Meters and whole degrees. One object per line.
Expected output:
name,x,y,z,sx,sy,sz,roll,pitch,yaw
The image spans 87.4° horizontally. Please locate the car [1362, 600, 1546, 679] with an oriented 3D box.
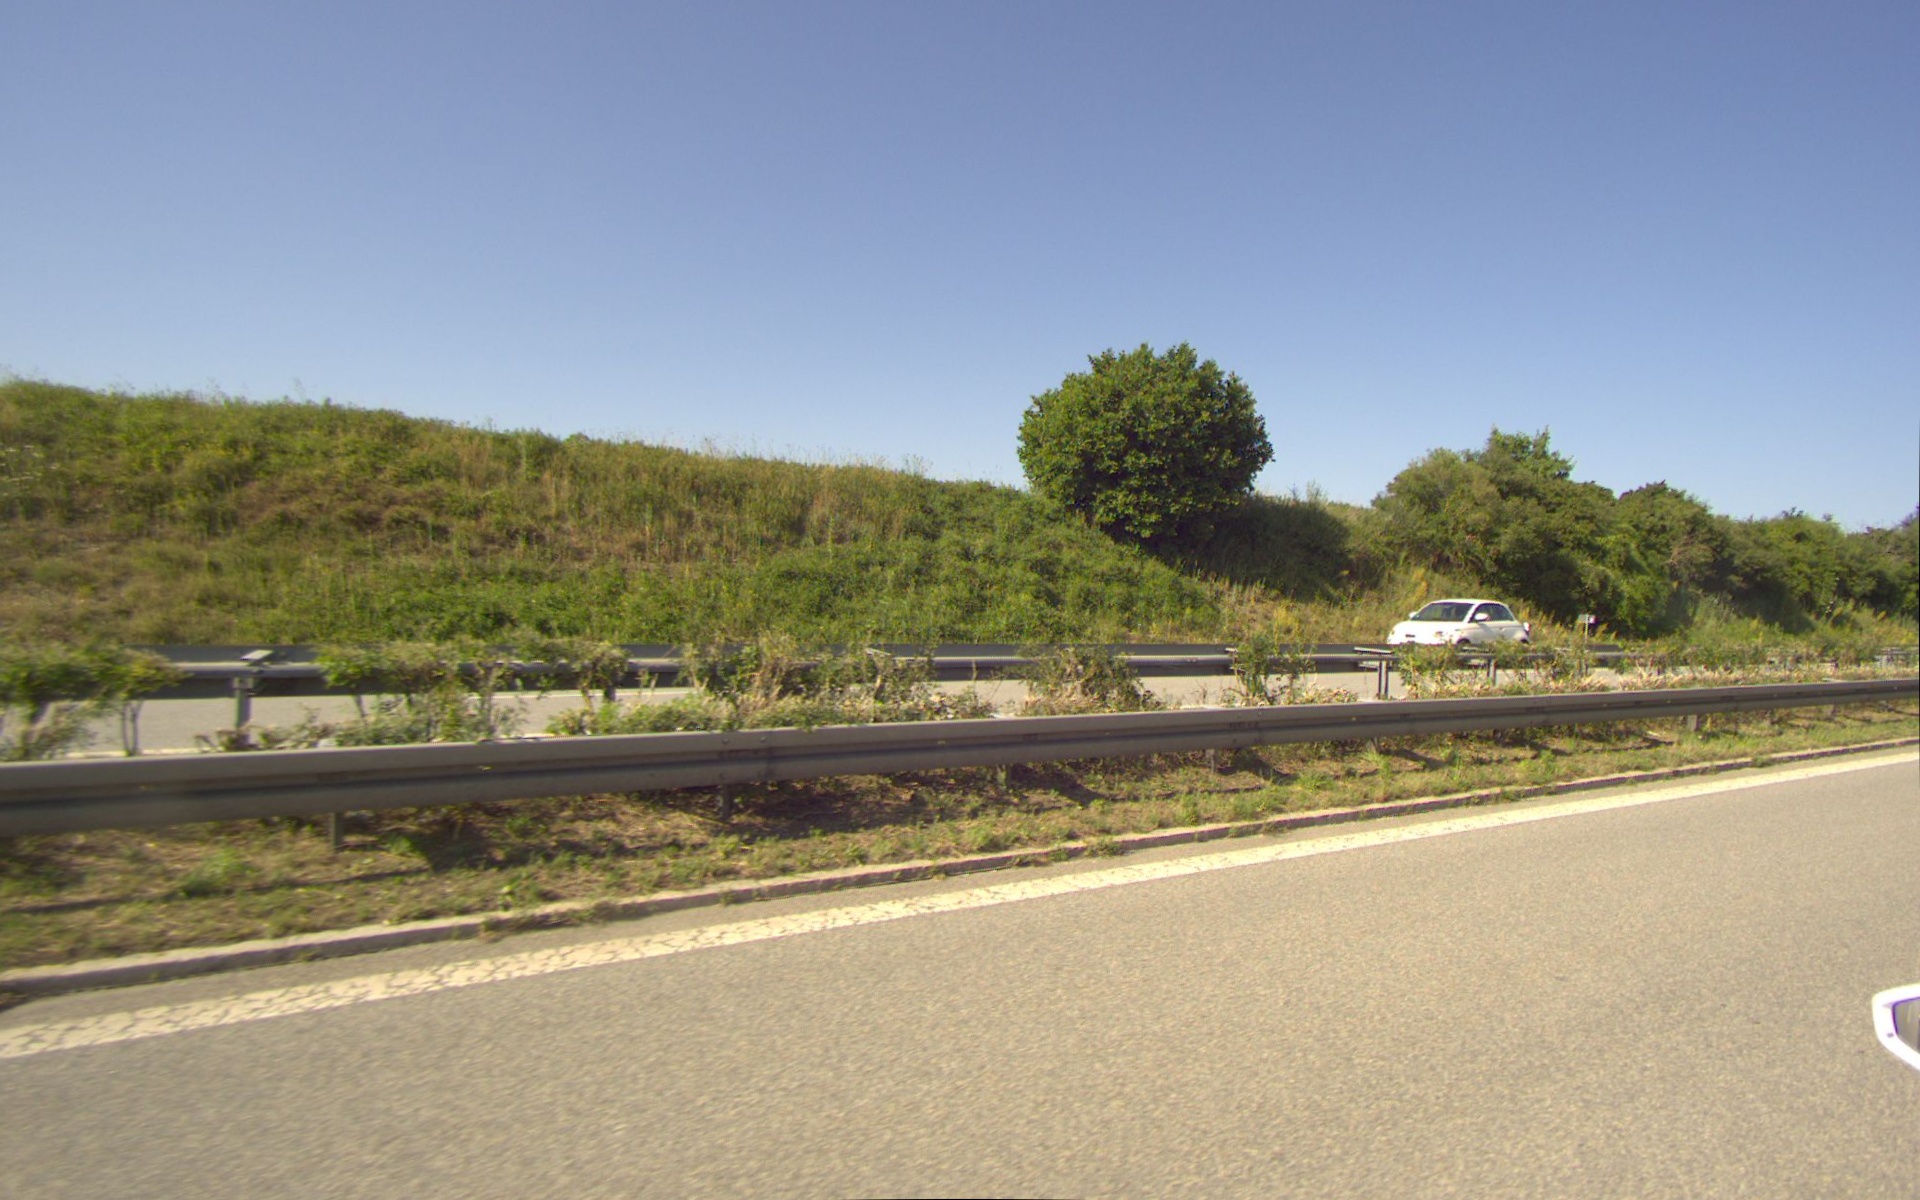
car,11.266,0.882,22.861,3.952,1.620,1.848,2,0,-30
